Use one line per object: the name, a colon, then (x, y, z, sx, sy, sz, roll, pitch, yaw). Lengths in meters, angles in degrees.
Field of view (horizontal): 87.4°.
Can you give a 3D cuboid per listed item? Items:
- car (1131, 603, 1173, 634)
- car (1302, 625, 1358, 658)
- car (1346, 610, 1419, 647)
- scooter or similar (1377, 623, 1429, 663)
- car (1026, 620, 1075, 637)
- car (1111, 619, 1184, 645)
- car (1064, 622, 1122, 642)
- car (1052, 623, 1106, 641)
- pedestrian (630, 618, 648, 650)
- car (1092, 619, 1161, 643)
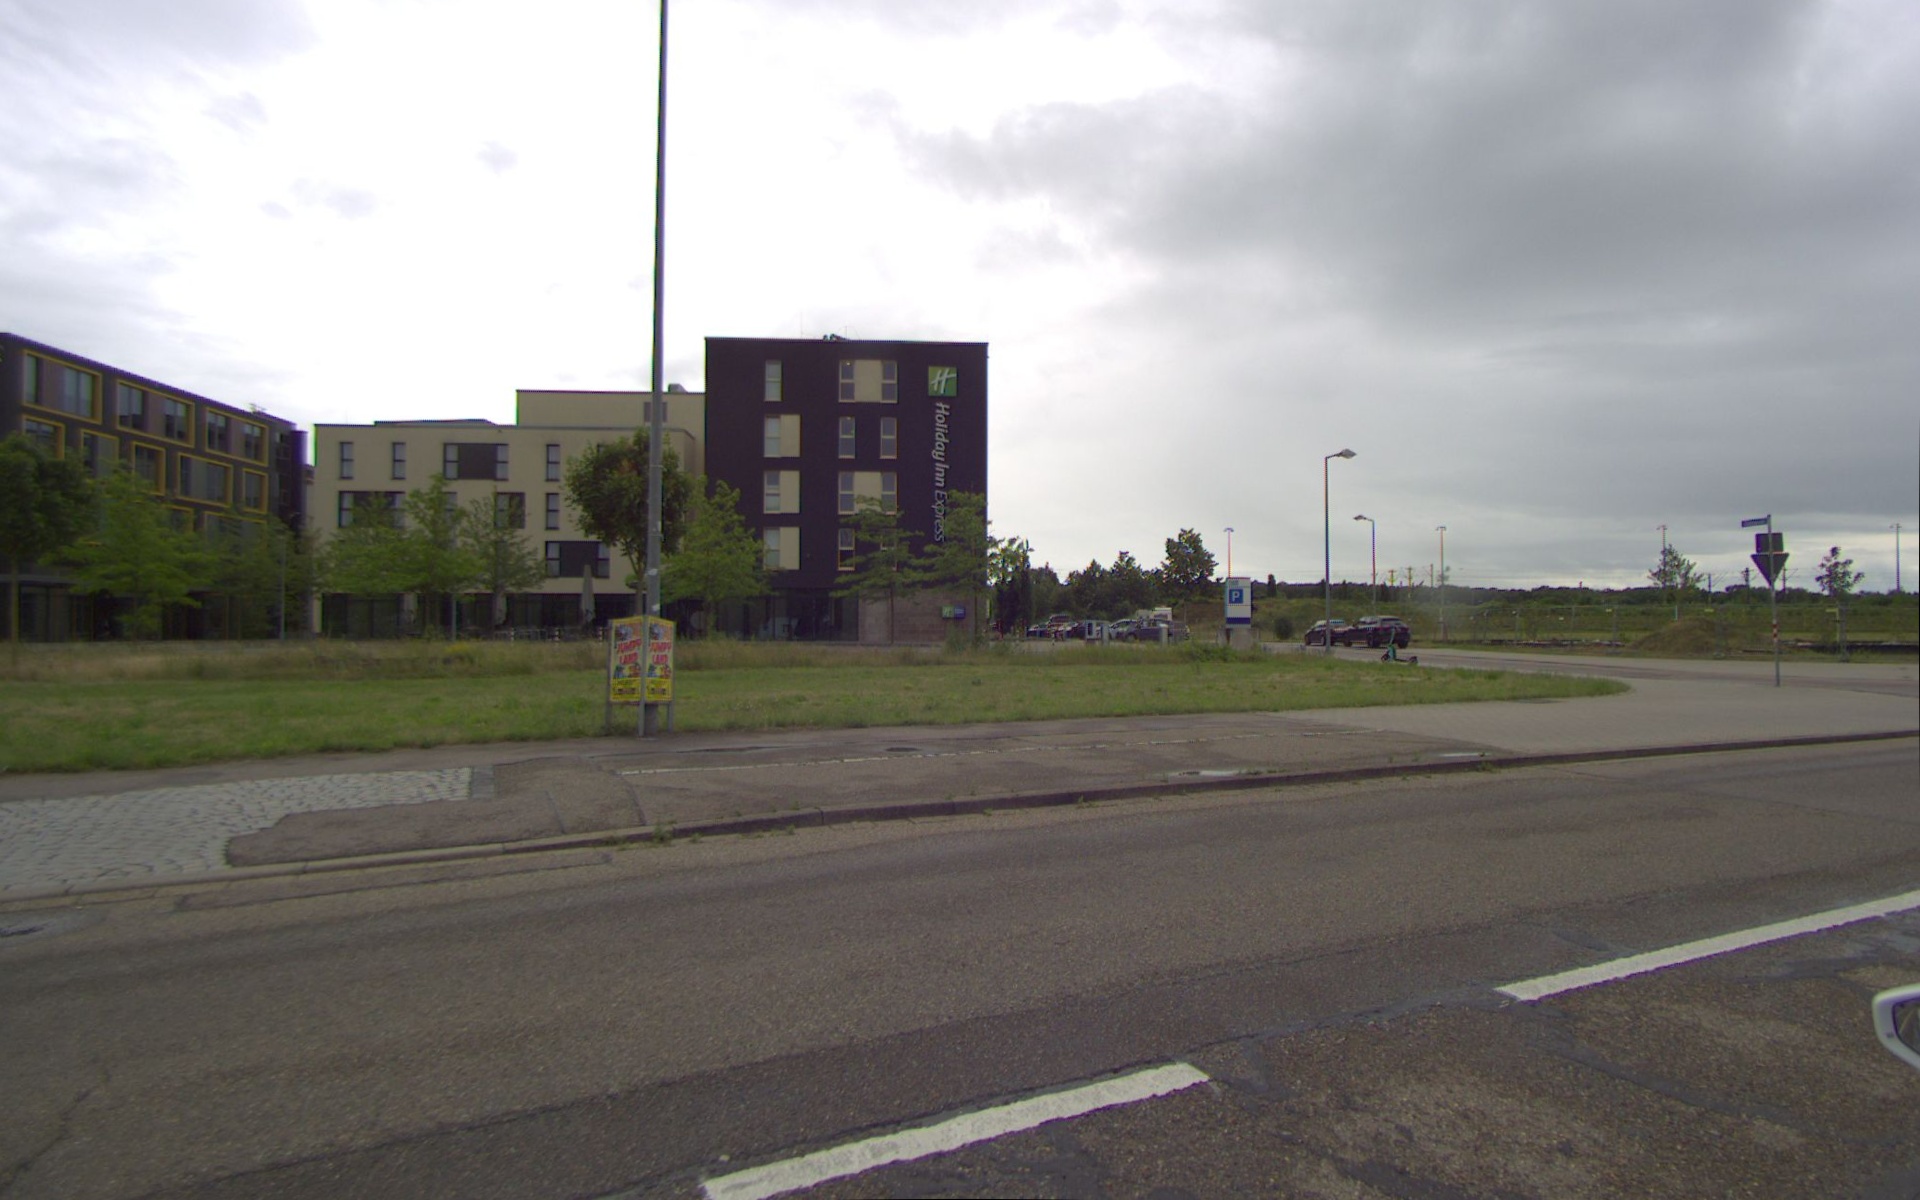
car: (19.083, 1.823, 100.241, 2.662, 2.996, 6.574, 0, -1, -3)
car: (21.246, 2.360, 57.784, 1.770, 1.776, 3.676, 0, -1, -1)
car: (21.905, 1.465, 52.192, 1.961, 1.847, 3.999, 0, -1, -2)
scooter or similar: (13.996, 1.348, 31.743, 0.564, 1.184, 1.456, 1, 0, -29)
car: (7.801, 2.437, 86.556, 3.925, 1.477, 1.744, 0, -1, -7)
car: (11.003, 1.850, 59.020, 3.924, 1.461, 1.697, 0, -1, -5)
car: (9.657, 2.353, 73.177, 3.926, 1.416, 1.743, 0, -1, -8)
car: (9.312, 2.523, 78.782, 3.925, 1.416, 1.744, 0, -1, -7)
pedestrian: (-16.170, 1.723, 50.599, 0.862, 1.591, 0.950, 0, -1, -20)
car: (11.018, 2.033, 66.438, 4.080, 1.537, 1.996, 0, -1, -11)
